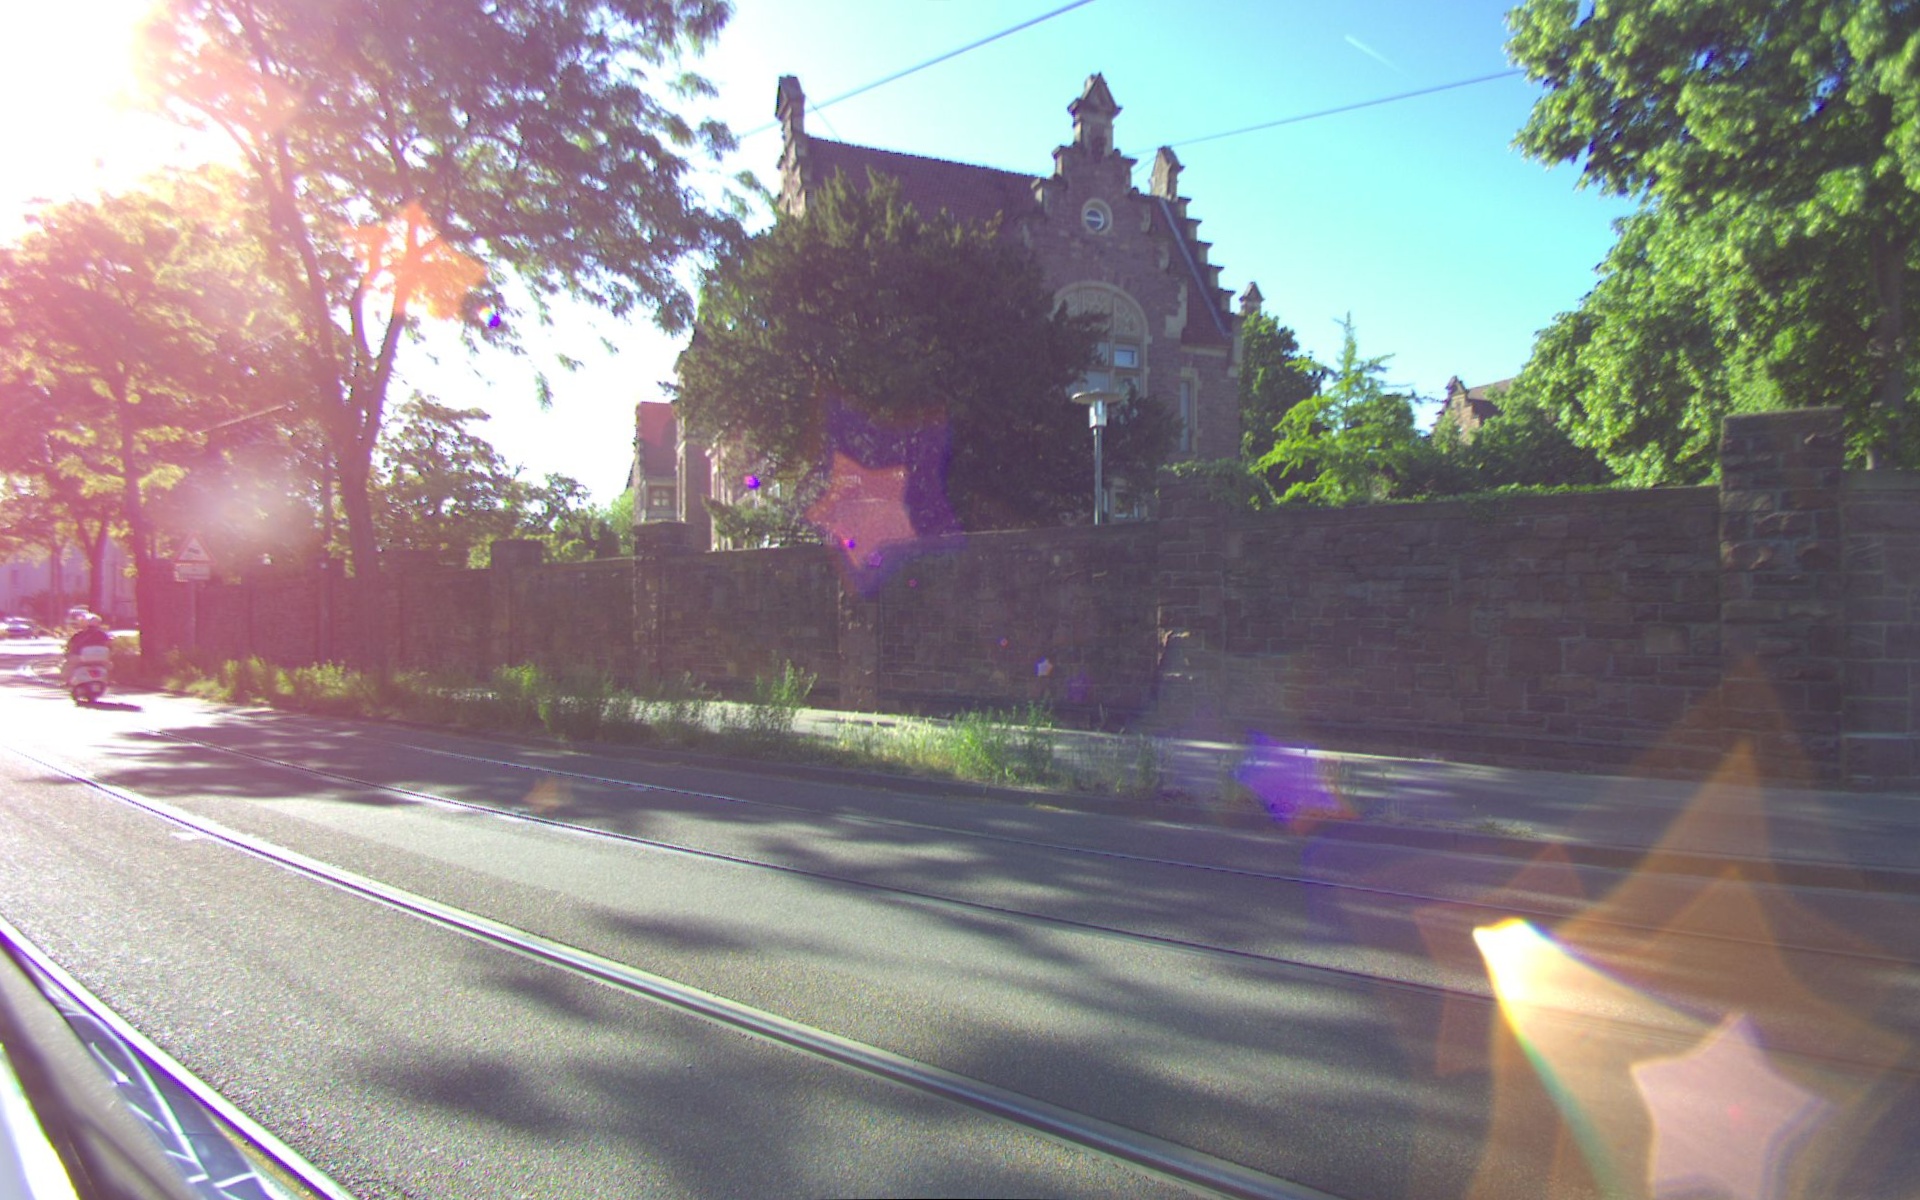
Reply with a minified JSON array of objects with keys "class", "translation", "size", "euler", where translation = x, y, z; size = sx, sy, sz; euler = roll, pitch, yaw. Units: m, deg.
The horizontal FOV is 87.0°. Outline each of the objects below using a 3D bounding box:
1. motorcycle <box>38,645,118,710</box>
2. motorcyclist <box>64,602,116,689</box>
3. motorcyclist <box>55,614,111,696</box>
[{"class":"motorcycle","translation":[-16.067,1.381,18.423],"size":[1.850,1.101,0.604],"euler":[-1,-1,33]},{"class":"motorcyclist","translation":[-15.568,0.797,18.110],"size":[0.464,1.527,0.602],"euler":[-1,-1,32]},{"class":"motorcyclist","translation":[-15.965,0.990,18.427],"size":[0.445,1.451,0.678],"euler":[-1,-1,31]}]
